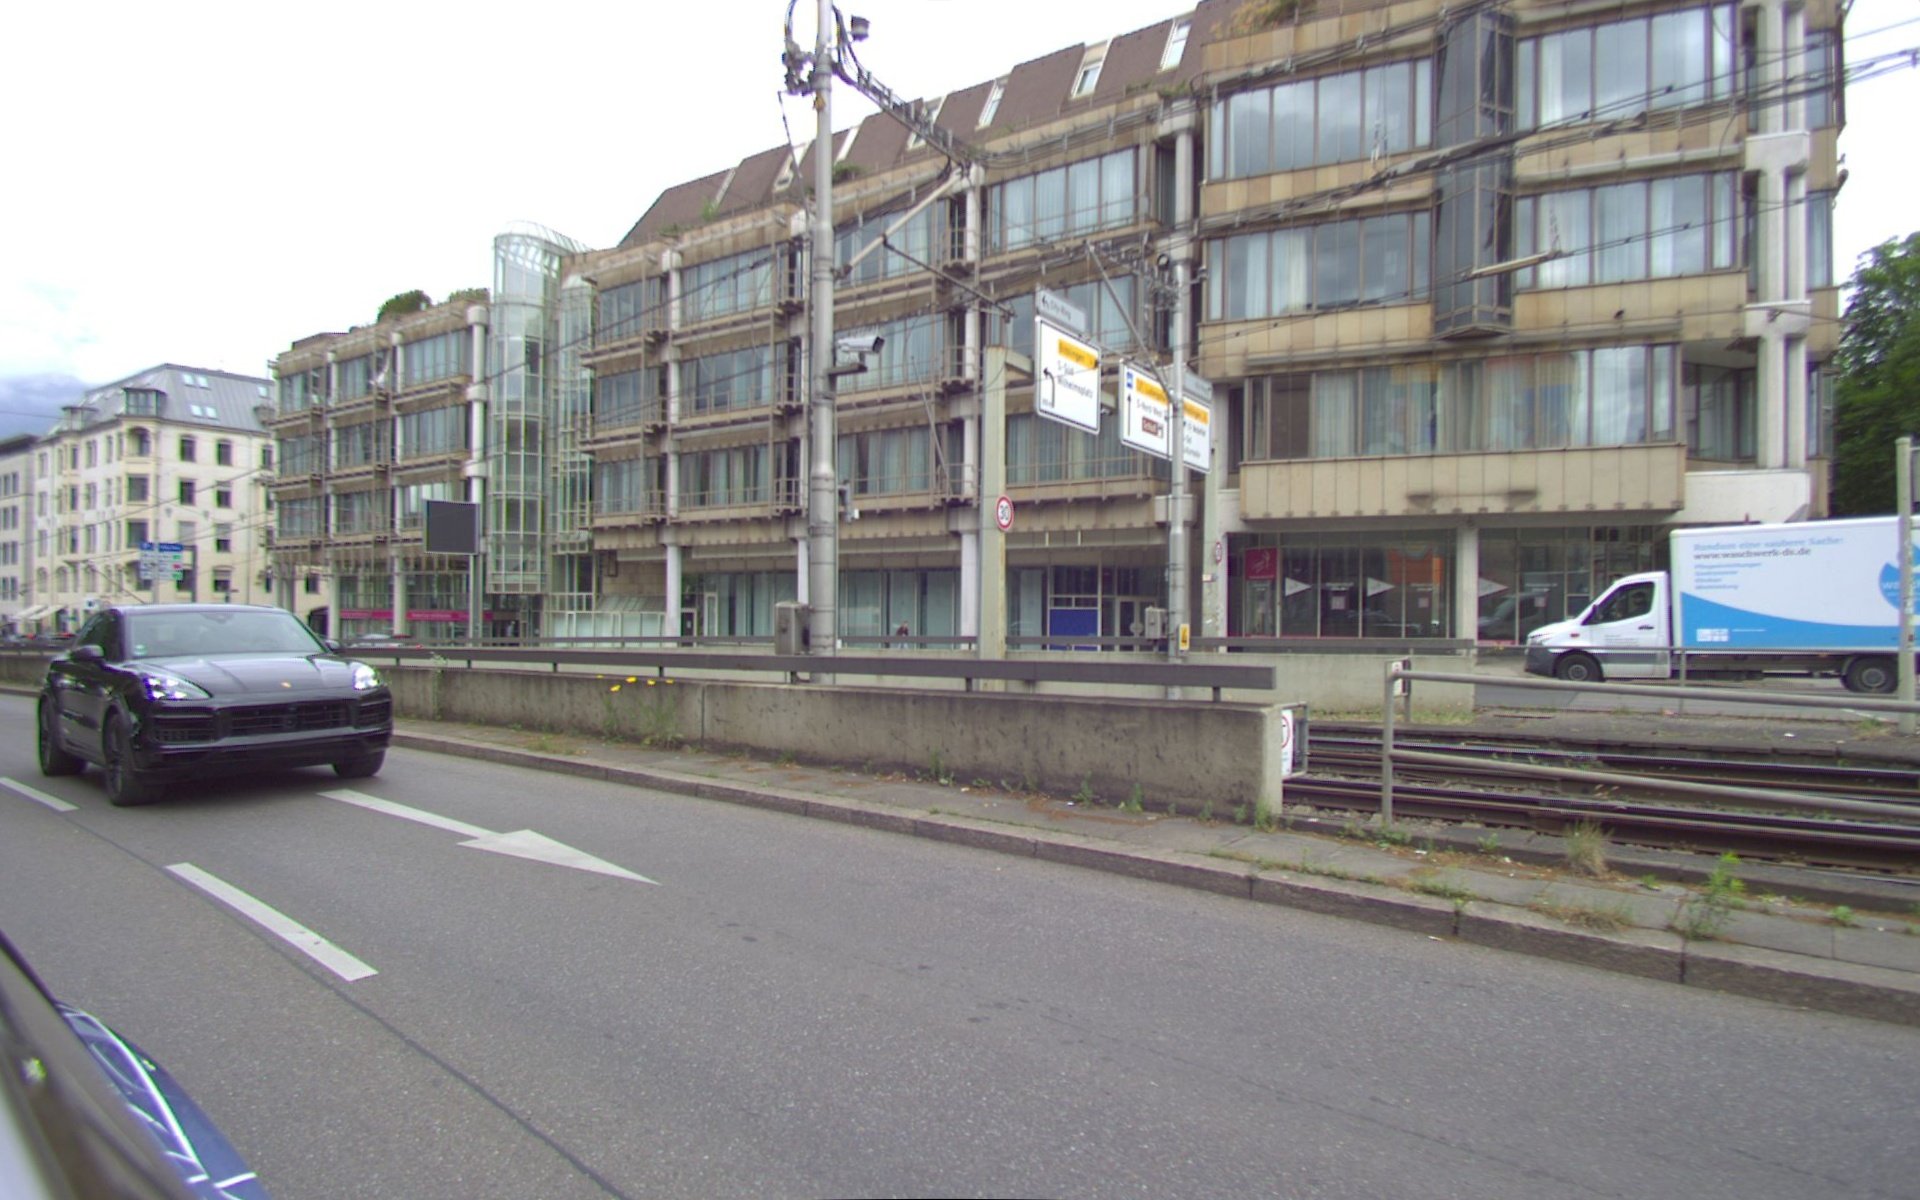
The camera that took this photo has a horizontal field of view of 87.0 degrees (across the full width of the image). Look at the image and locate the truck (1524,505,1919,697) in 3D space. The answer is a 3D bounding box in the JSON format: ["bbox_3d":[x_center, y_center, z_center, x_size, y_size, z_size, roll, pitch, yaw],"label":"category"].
[{"bbox_3d":[14.692,0.096,18.483,7.367,3.100,2.244,-2,-3,40],"label":"truck"}]

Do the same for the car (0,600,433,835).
[{"bbox_3d":[-7.468,0.927,9.682,5.339,1.688,2.065,-2,-1,35],"label":"car"}]

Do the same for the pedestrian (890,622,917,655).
[{"bbox_3d":[-2.227,1.511,39.636,0.738,1.275,0.724,-2,0,36],"label":"pedestrian"}]

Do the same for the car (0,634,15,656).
[{"bbox_3d":[-92.583,4.325,97.139,3.990,2.029,1.977,-2,-2,35],"label":"car"}]

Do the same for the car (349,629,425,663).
[{"bbox_3d":[-27.176,2.181,47.934,4.035,1.512,1.649,-2,-2,37],"label":"car"}]

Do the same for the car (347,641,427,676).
[{"bbox_3d":[-27.173,2.755,47.947,4.405,1.512,1.649,-2,-2,37],"label":"car"}]

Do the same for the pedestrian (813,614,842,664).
[{"bbox_3d":[-4.901,1.434,37.499,0.738,1.825,0.724,-2,0,36],"label":"pedestrian"}]
